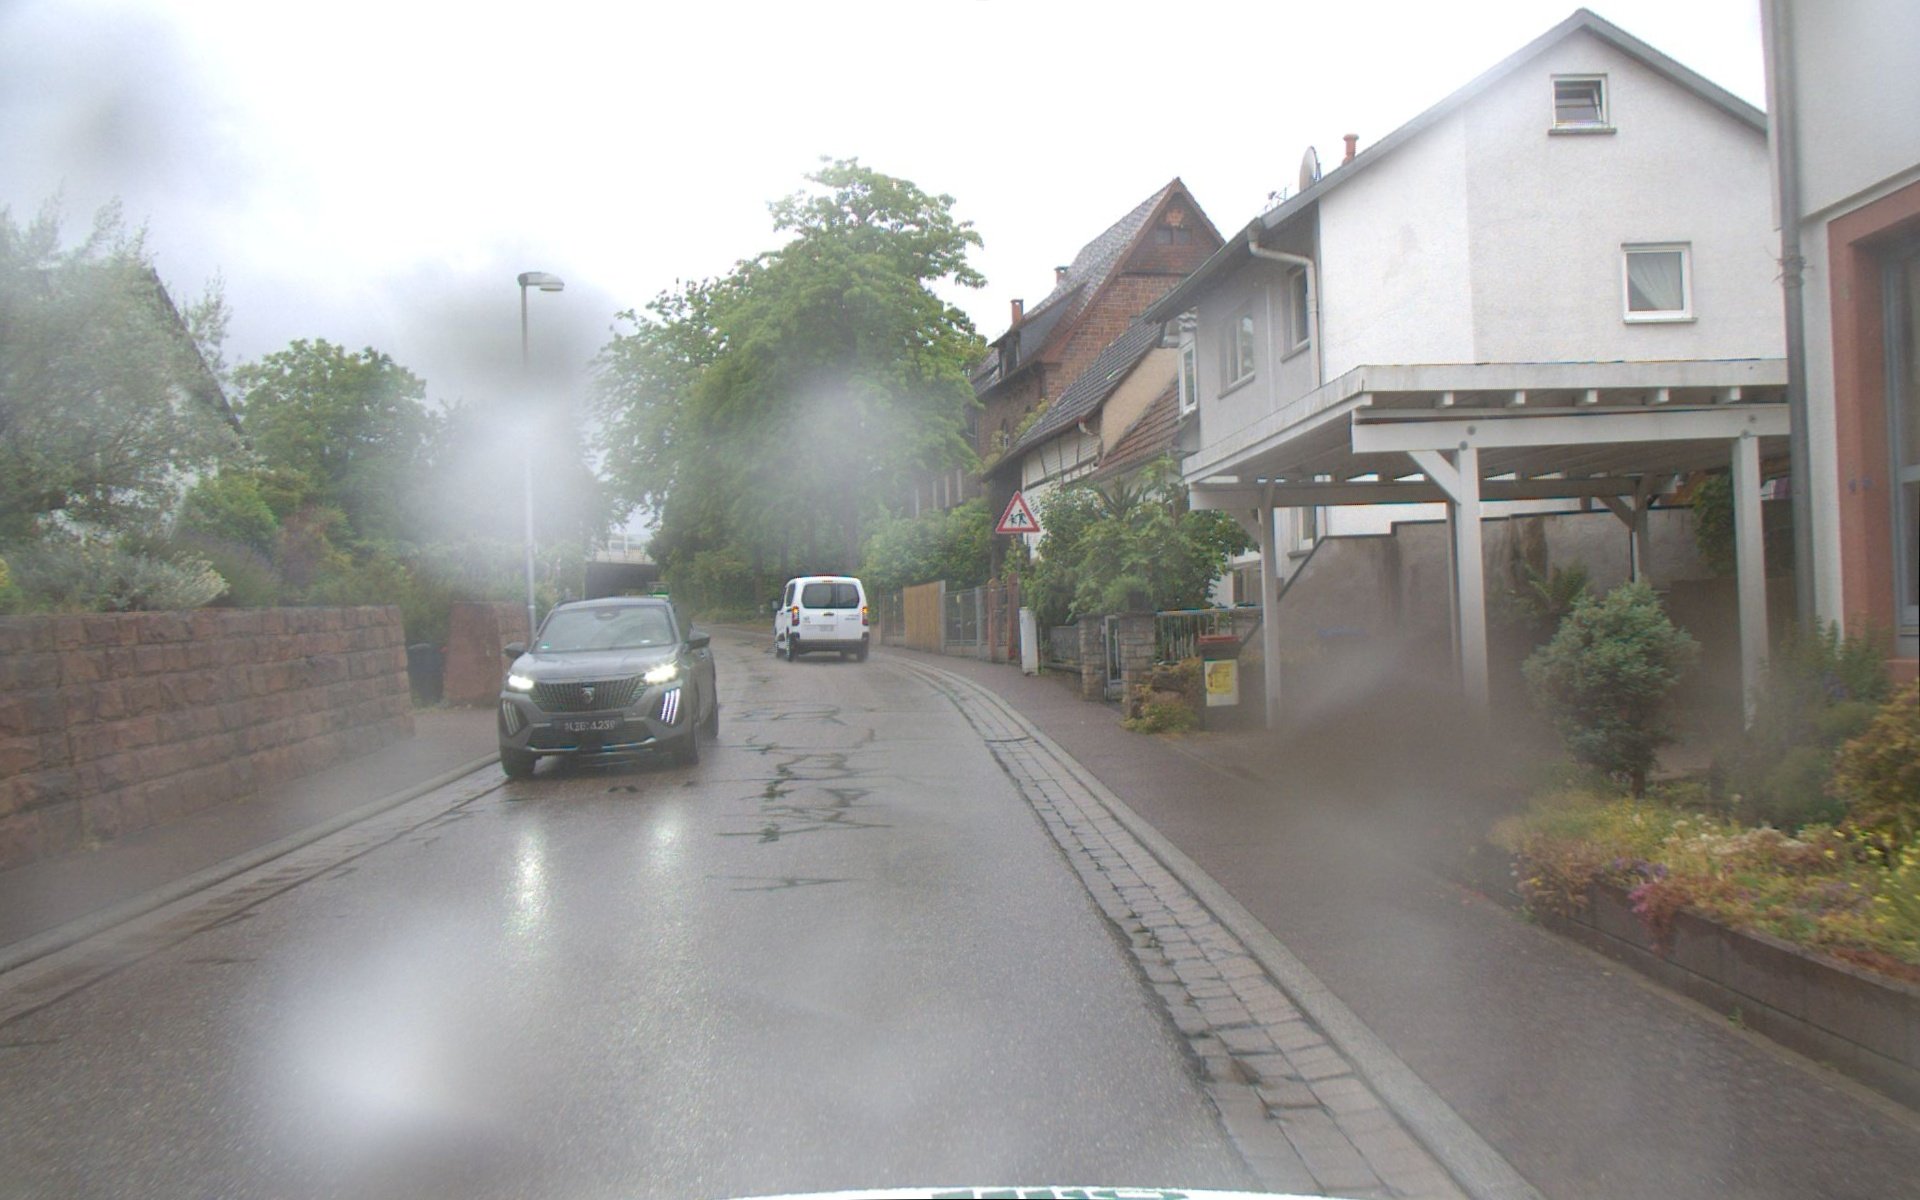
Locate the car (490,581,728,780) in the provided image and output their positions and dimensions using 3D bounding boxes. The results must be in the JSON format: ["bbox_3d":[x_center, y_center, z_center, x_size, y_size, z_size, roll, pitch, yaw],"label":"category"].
[{"bbox_3d":[-3.245,0.658,15.968,1.667,1.573,3.847,-4,1,-5],"label":"car"}]

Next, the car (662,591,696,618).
[{"bbox_3d":[-15.118,0.248,88.911,1.678,1.402,3.989,0,-1,-11],"label":"car"}]

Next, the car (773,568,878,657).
[{"bbox_3d":[-3.083,0.255,37.193,1.863,1.838,3.989,-2,1,-11],"label":"car"}]
